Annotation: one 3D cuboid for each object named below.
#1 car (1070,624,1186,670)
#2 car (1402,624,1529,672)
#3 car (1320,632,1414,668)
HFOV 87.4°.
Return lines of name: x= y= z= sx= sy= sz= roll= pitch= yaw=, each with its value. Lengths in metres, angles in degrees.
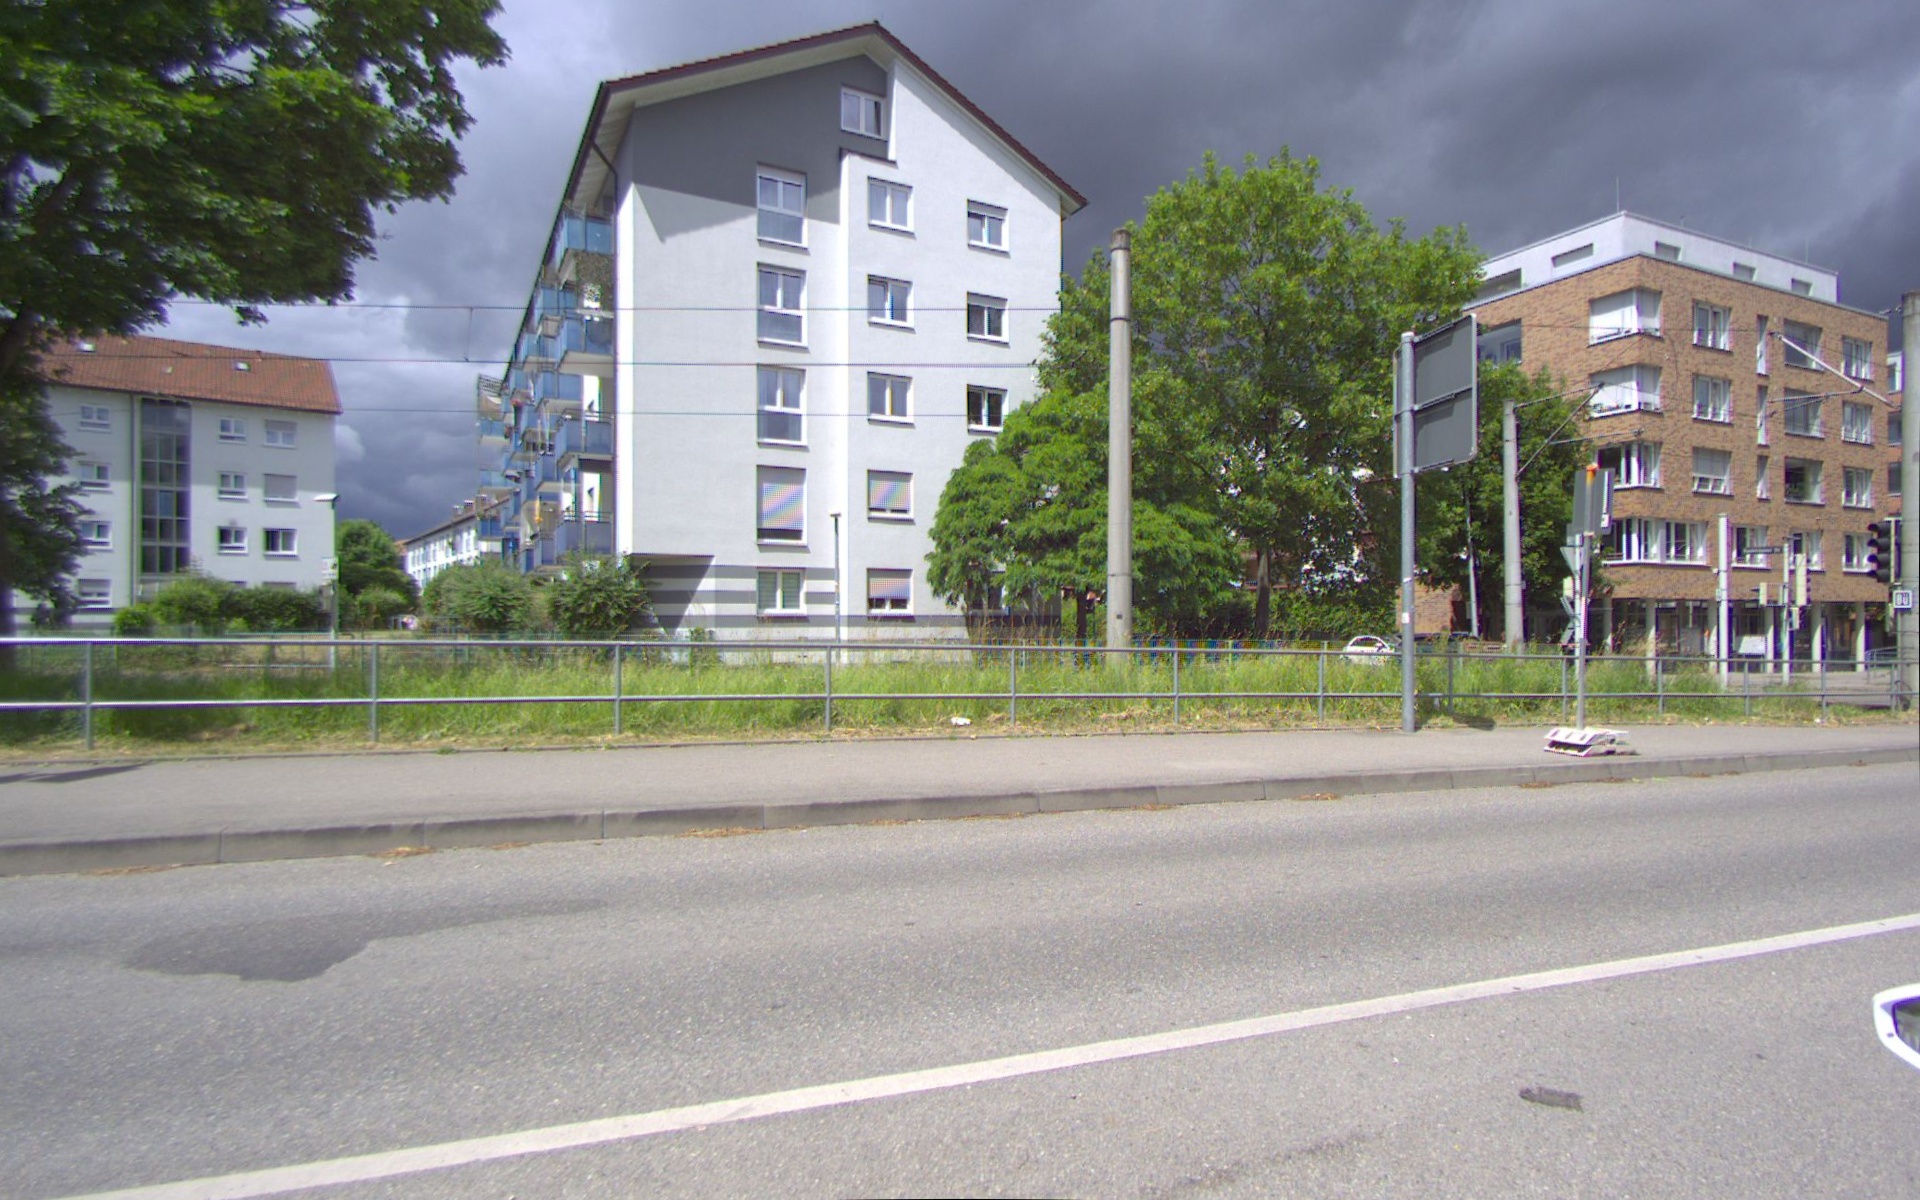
car: x=6.225 y=1.740 z=37.083 sx=4.068 sy=1.576 sz=1.844 roll=3 pitch=-2 yaw=-34
car: x=16.860 y=1.627 z=33.670 sx=1.565 sy=1.495 sz=3.665 roll=1 pitch=-4 yaw=-23
car: x=17.064 y=2.071 z=42.257 sx=1.574 sy=1.417 sz=3.518 roll=2 pitch=-2 yaw=-28
